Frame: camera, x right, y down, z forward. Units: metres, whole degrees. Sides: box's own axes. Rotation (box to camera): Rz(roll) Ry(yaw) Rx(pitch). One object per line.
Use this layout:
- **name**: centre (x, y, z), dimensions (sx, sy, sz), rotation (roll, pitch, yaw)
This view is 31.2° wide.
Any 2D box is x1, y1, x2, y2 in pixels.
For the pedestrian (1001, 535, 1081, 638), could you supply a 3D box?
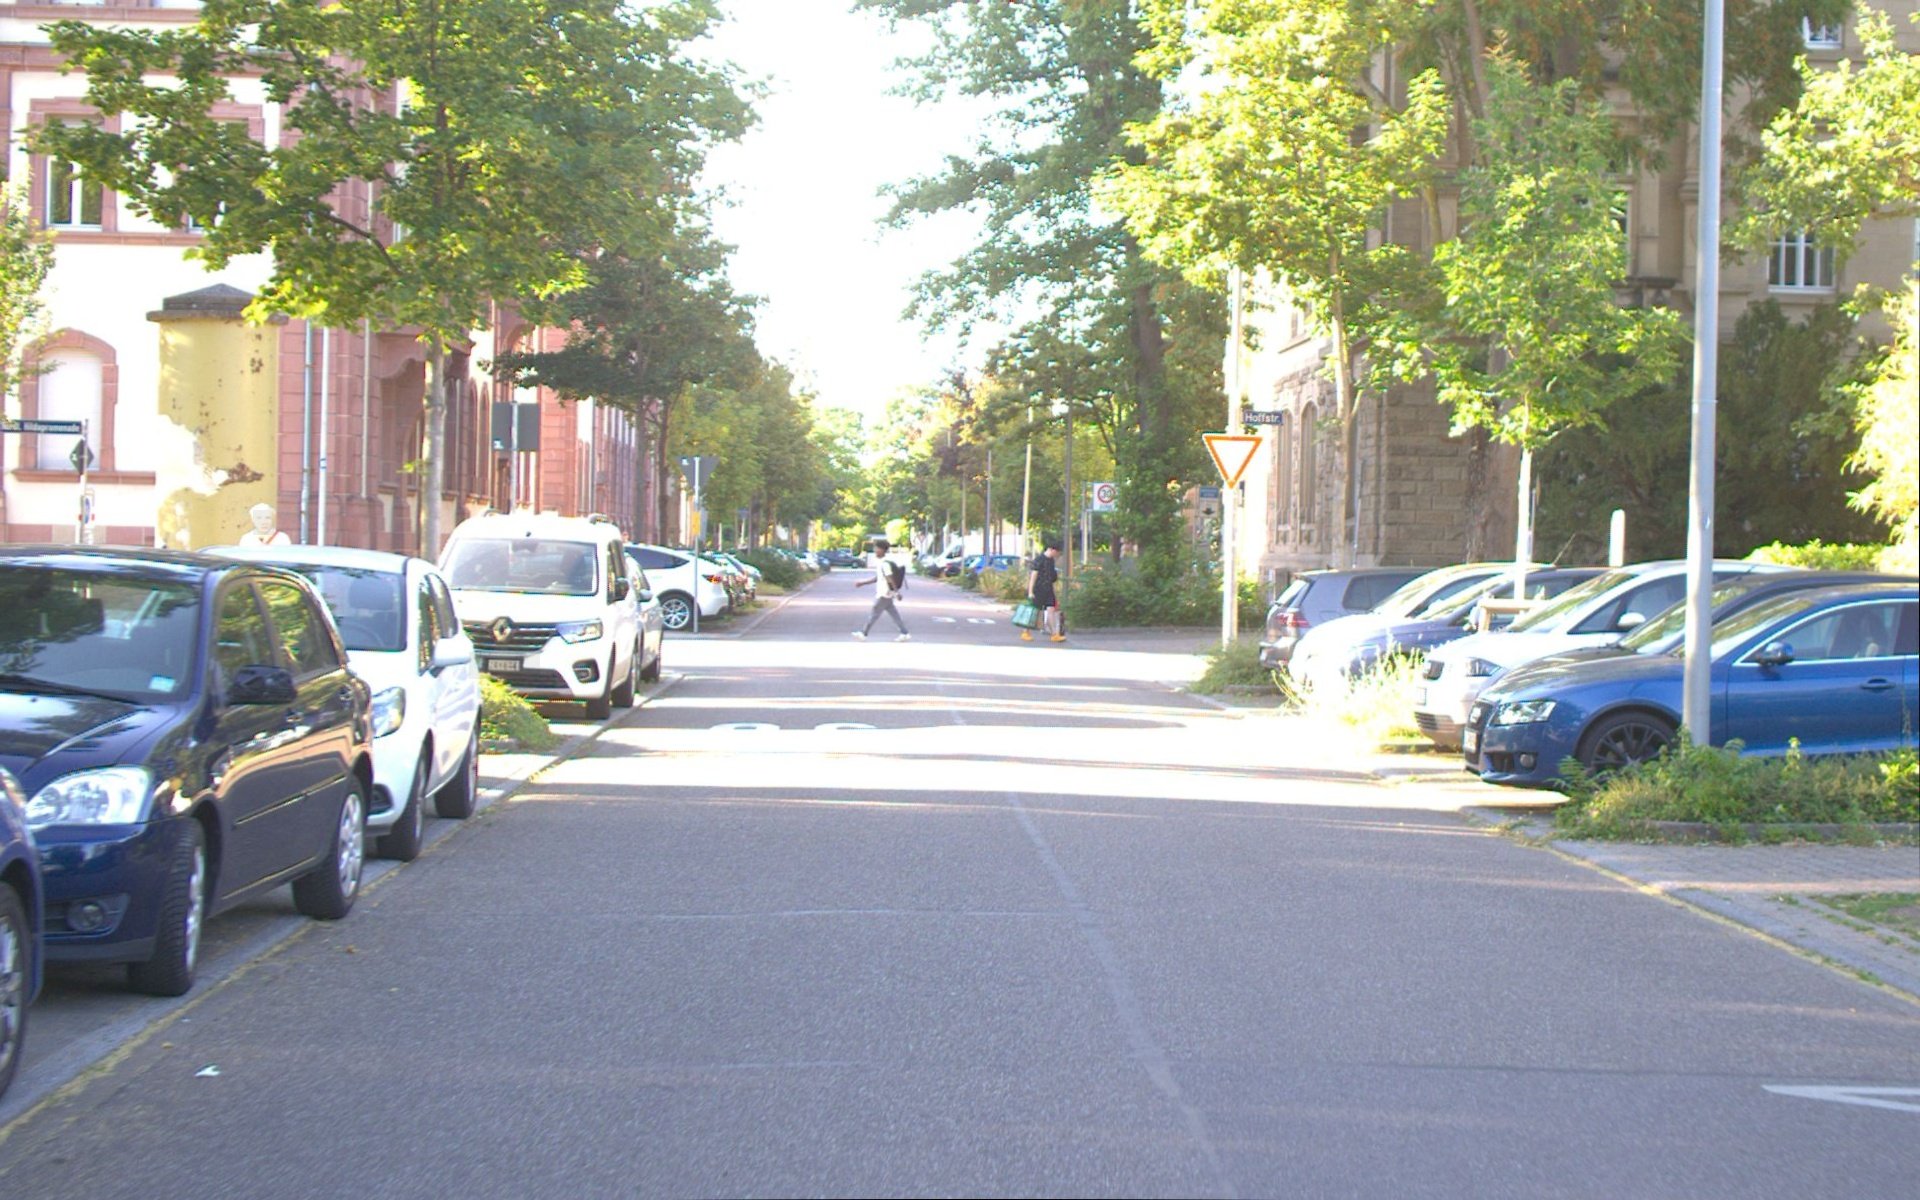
- **pedestrian**: centre (1.490, -0.254, 63.448), dimensions (1.060, 1.851, 1.002), rotation (1, 1, -33)

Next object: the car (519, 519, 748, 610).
- **car**: centre (-6.538, -0.724, 69.245), dimensions (4.482, 1.711, 1.842), rotation (1, 1, -3)

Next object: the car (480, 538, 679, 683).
- **car**: centre (-4.246, 0.076, 38.939), dimensions (1.781, 1.500, 4.553), rotation (2, 1, -1)

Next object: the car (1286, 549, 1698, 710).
- **car**: centre (5.389, 0.282, 35.187), dimensions (3.954, 1.511, 1.675), rotation (1, 1, 2)

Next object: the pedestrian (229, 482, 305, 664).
- **pedestrian**: centre (-6.907, -0.276, 34.308), dimensions (0.599, 1.778, 0.946), rotation (1, 1, -4)

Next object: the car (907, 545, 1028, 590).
- **car**: centre (0.273, -1.284, 134.353), dimensions (4.582, 1.602, 1.842), rotation (2, 1, -3)

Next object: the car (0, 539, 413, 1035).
- **car**: centre (-3.170, 0.539, 12.555), dimensions (1.551, 1.489, 3.942), rotation (1, 1, 2)

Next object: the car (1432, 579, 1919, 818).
- **car**: centre (5.410, 0.585, 21.679), dimensions (4.589, 1.410, 1.923), rotation (-1, 0, 0)

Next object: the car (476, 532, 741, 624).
- **car**: centre (-6.567, -0.424, 64.640), dimensions (4.841, 1.588, 1.842), rotation (1, 1, -3)

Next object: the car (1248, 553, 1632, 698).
- **car**: centre (5.220, 0.293, 37.757), dimensions (3.954, 1.511, 1.874), rotation (1, -1, 0)

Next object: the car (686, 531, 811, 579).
- **car**: centre (-7.731, -1.651, 125.743), dimensions (4.482, 1.602, 1.842), rotation (2, 1, -3)

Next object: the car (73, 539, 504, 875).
- **car**: centre (-3.372, 0.465, 17.892), dimensions (1.592, 1.521, 3.866), rotation (1, 1, -2)

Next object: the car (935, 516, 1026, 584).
- **car**: centre (1.122, -2.784, 190.785), dimensions (4.885, 3.605, 1.842), rotation (2, 1, -2)

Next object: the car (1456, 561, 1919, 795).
- **car**: centre (5.525, 0.532, 24.189), dimensions (3.680, 1.518, 1.792), rotation (1, 1, -4)

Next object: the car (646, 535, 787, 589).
- **car**: centre (-7.893, -1.228, 111.461), dimensions (4.482, 1.602, 1.842), rotation (2, 1, -3)

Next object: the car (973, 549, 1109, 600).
- **car**: centre (2.749, -0.887, 117.665), dimensions (4.482, 1.602, 1.842), rotation (2, 1, -3)

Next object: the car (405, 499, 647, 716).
- **car**: centre (-3.947, 0.021, 31.894), dimensions (1.781, 1.834, 4.553), rotation (1, 1, -2)

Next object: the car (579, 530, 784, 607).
- **car**: centre (-6.237, -0.711, 77.326), dimensions (4.482, 1.602, 1.842), rotation (2, 1, -3)

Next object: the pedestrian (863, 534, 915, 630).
- **pedestrian**: centre (-1.212, -0.302, 58.659), dimensions (0.784, 1.601, 0.721), rotation (1, 0, -7)

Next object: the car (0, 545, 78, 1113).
- **car**: centre (-3.305, 0.590, 7.721), dimensions (1.638, 1.490, 3.705), rotation (3, 1, 0)

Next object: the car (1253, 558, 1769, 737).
- **car**: centre (5.170, 0.430, 32.630), dimensions (4.490, 1.544, 1.891), rotation (1, 1, -4)

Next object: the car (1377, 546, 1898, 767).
- **car**: centre (5.174, 0.418, 26.455), dimensions (3.492, 1.579, 1.762), rotation (1, 1, -11)
